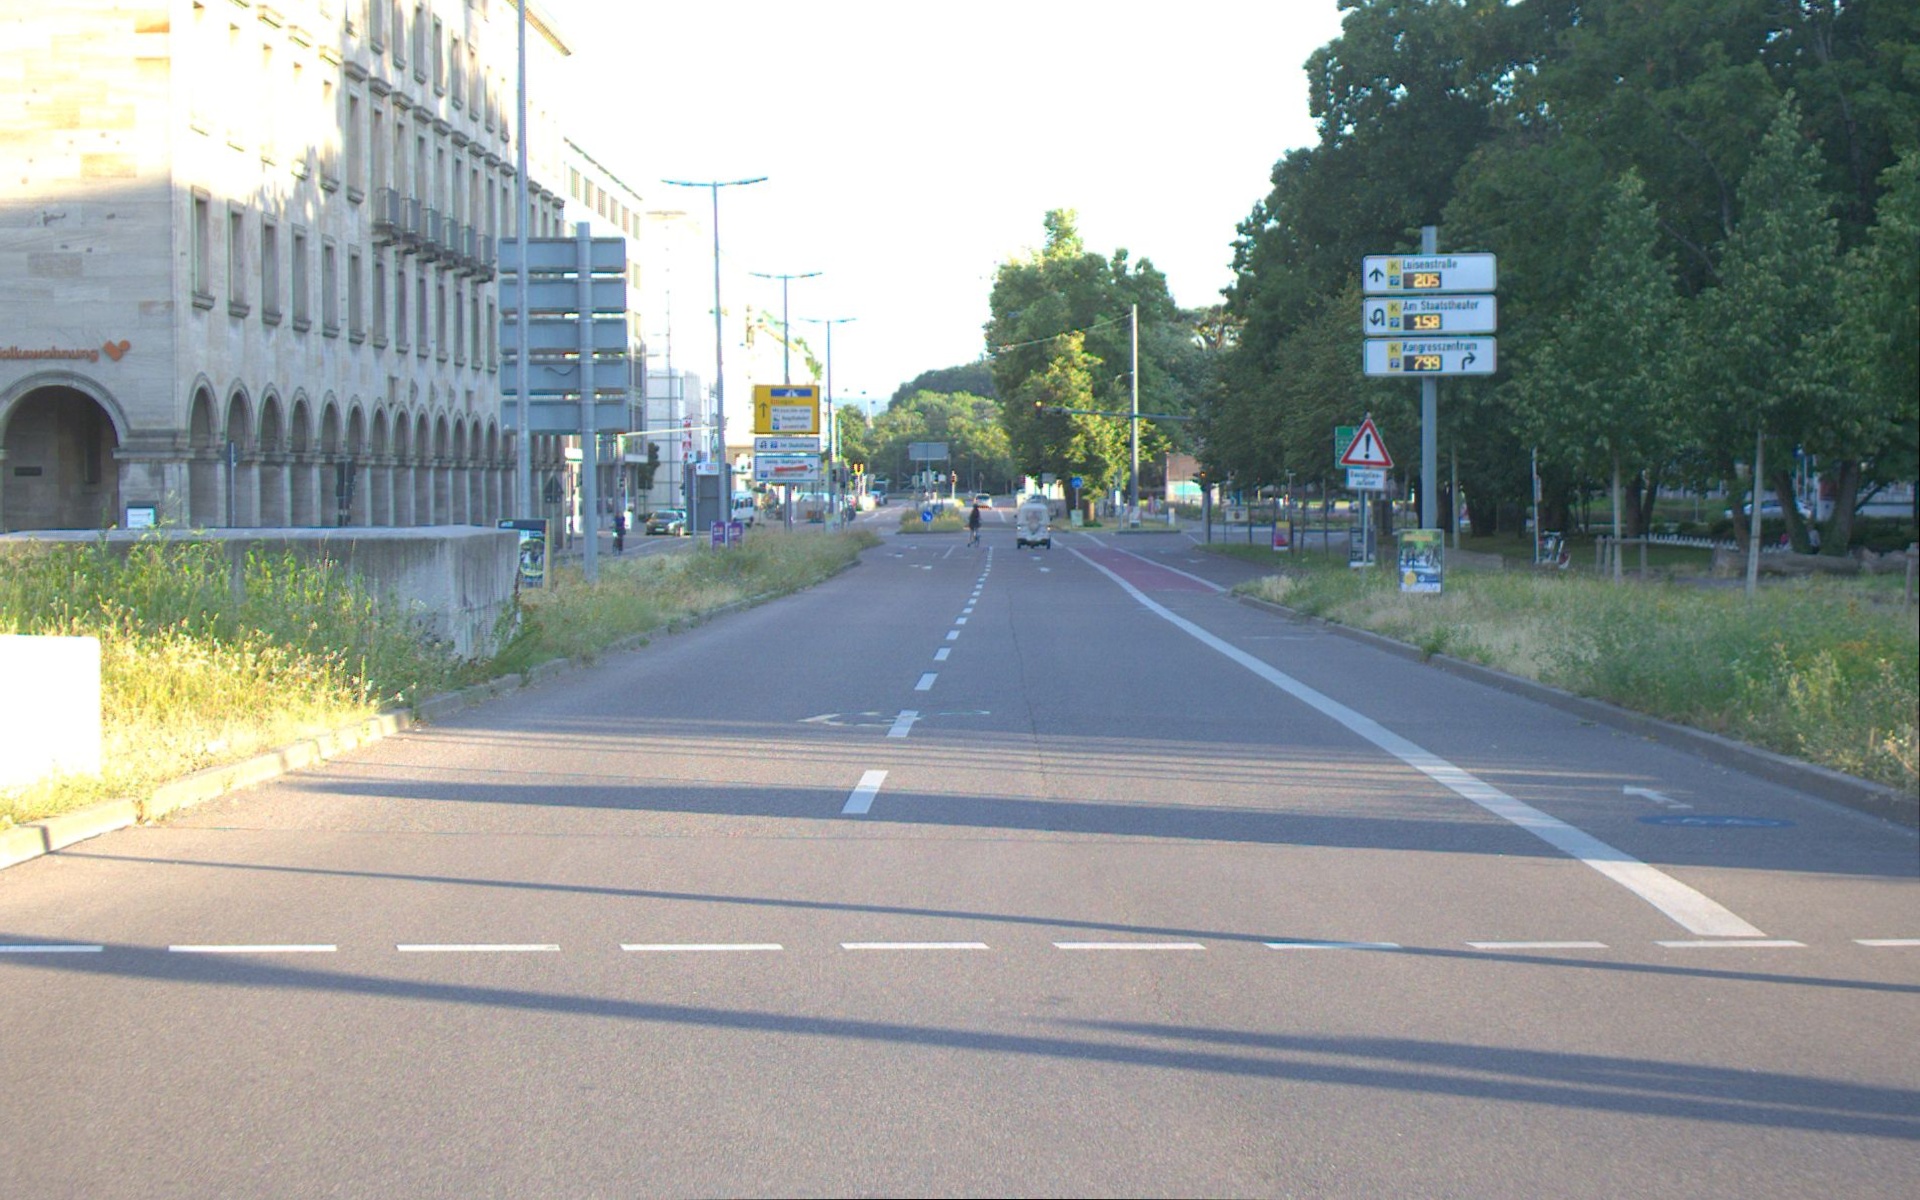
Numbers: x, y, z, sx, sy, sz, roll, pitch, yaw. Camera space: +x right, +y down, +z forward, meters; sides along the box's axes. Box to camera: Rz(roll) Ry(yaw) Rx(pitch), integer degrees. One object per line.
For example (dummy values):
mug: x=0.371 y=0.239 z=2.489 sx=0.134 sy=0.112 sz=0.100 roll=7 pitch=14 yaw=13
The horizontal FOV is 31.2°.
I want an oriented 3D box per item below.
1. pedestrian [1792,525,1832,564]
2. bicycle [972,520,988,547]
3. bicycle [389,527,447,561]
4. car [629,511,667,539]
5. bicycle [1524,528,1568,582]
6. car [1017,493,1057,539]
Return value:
pedestrian: x=19.916 y=-1.300 z=80.391 sx=0.679 sy=0.881 sz=0.624 roll=-1 pitch=2 yaw=-22
bicycle: x=0.794 y=-2.679 z=137.953 sx=0.637 sy=1.065 sz=2.069 roll=0 pitch=2 yaw=0
bicycle: x=-16.678 y=-1.733 z=105.752 sx=0.478 sy=1.002 sz=2.001 roll=1 pitch=2 yaw=36
car: x=-17.714 y=-4.248 z=195.546 sx=1.796 sy=1.470 sz=4.000 roll=-1 pitch=-1 yaw=0
bicycle: x=11.717 y=-0.900 z=68.712 sx=0.495 sy=1.002 sz=1.896 roll=-3 pitch=1 yaw=20
car: x=3.014 y=-3.281 z=133.752 sx=1.459 sy=1.774 sz=2.564 roll=0 pitch=2 yaw=3
